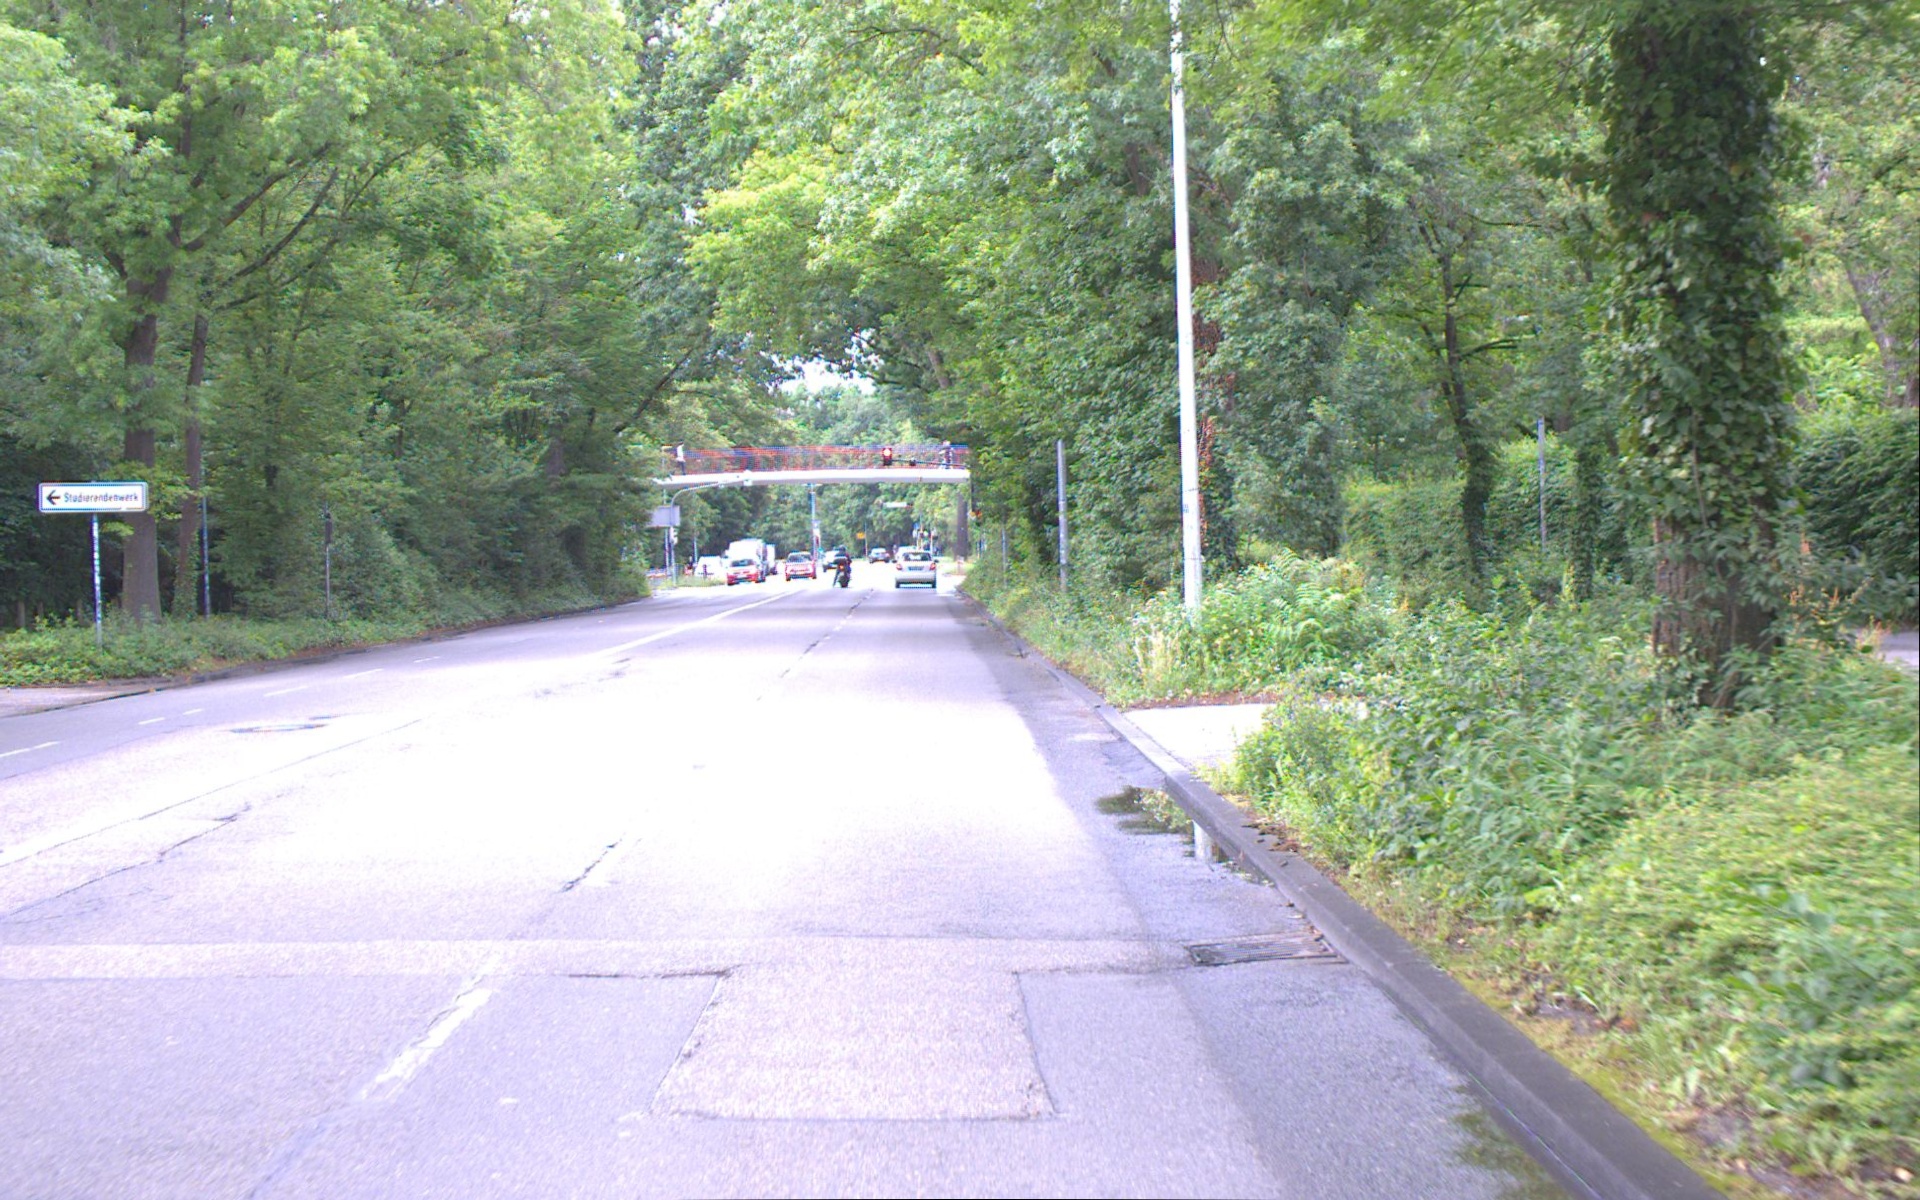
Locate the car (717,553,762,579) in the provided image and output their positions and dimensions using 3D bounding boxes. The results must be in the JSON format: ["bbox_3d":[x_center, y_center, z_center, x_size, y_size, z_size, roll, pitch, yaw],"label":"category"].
[{"bbox_3d":[-11.703,-1.809,182.925,1.993,1.349,3.894,0,1,2],"label":"car"}]

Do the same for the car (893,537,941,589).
[{"bbox_3d":[-1.711,-1.482,136.121,1.843,2.007,4.000,0,1,-1],"label":"car"}]

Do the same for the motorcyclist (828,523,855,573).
[{"bbox_3d":[-4.812,-2.107,139.685,1.063,2.007,0.843,0,1,-1],"label":"motorcyclist"}]

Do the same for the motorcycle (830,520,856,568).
[{"bbox_3d":[-4.758,-2.280,139.810,0.990,1.929,2.669,0,1,-1],"label":"motorcycle"}]

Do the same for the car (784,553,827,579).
[{"bbox_3d":[-8.215,-1.826,182.893,1.675,1.357,3.920,0,1,6],"label":"car"}]
